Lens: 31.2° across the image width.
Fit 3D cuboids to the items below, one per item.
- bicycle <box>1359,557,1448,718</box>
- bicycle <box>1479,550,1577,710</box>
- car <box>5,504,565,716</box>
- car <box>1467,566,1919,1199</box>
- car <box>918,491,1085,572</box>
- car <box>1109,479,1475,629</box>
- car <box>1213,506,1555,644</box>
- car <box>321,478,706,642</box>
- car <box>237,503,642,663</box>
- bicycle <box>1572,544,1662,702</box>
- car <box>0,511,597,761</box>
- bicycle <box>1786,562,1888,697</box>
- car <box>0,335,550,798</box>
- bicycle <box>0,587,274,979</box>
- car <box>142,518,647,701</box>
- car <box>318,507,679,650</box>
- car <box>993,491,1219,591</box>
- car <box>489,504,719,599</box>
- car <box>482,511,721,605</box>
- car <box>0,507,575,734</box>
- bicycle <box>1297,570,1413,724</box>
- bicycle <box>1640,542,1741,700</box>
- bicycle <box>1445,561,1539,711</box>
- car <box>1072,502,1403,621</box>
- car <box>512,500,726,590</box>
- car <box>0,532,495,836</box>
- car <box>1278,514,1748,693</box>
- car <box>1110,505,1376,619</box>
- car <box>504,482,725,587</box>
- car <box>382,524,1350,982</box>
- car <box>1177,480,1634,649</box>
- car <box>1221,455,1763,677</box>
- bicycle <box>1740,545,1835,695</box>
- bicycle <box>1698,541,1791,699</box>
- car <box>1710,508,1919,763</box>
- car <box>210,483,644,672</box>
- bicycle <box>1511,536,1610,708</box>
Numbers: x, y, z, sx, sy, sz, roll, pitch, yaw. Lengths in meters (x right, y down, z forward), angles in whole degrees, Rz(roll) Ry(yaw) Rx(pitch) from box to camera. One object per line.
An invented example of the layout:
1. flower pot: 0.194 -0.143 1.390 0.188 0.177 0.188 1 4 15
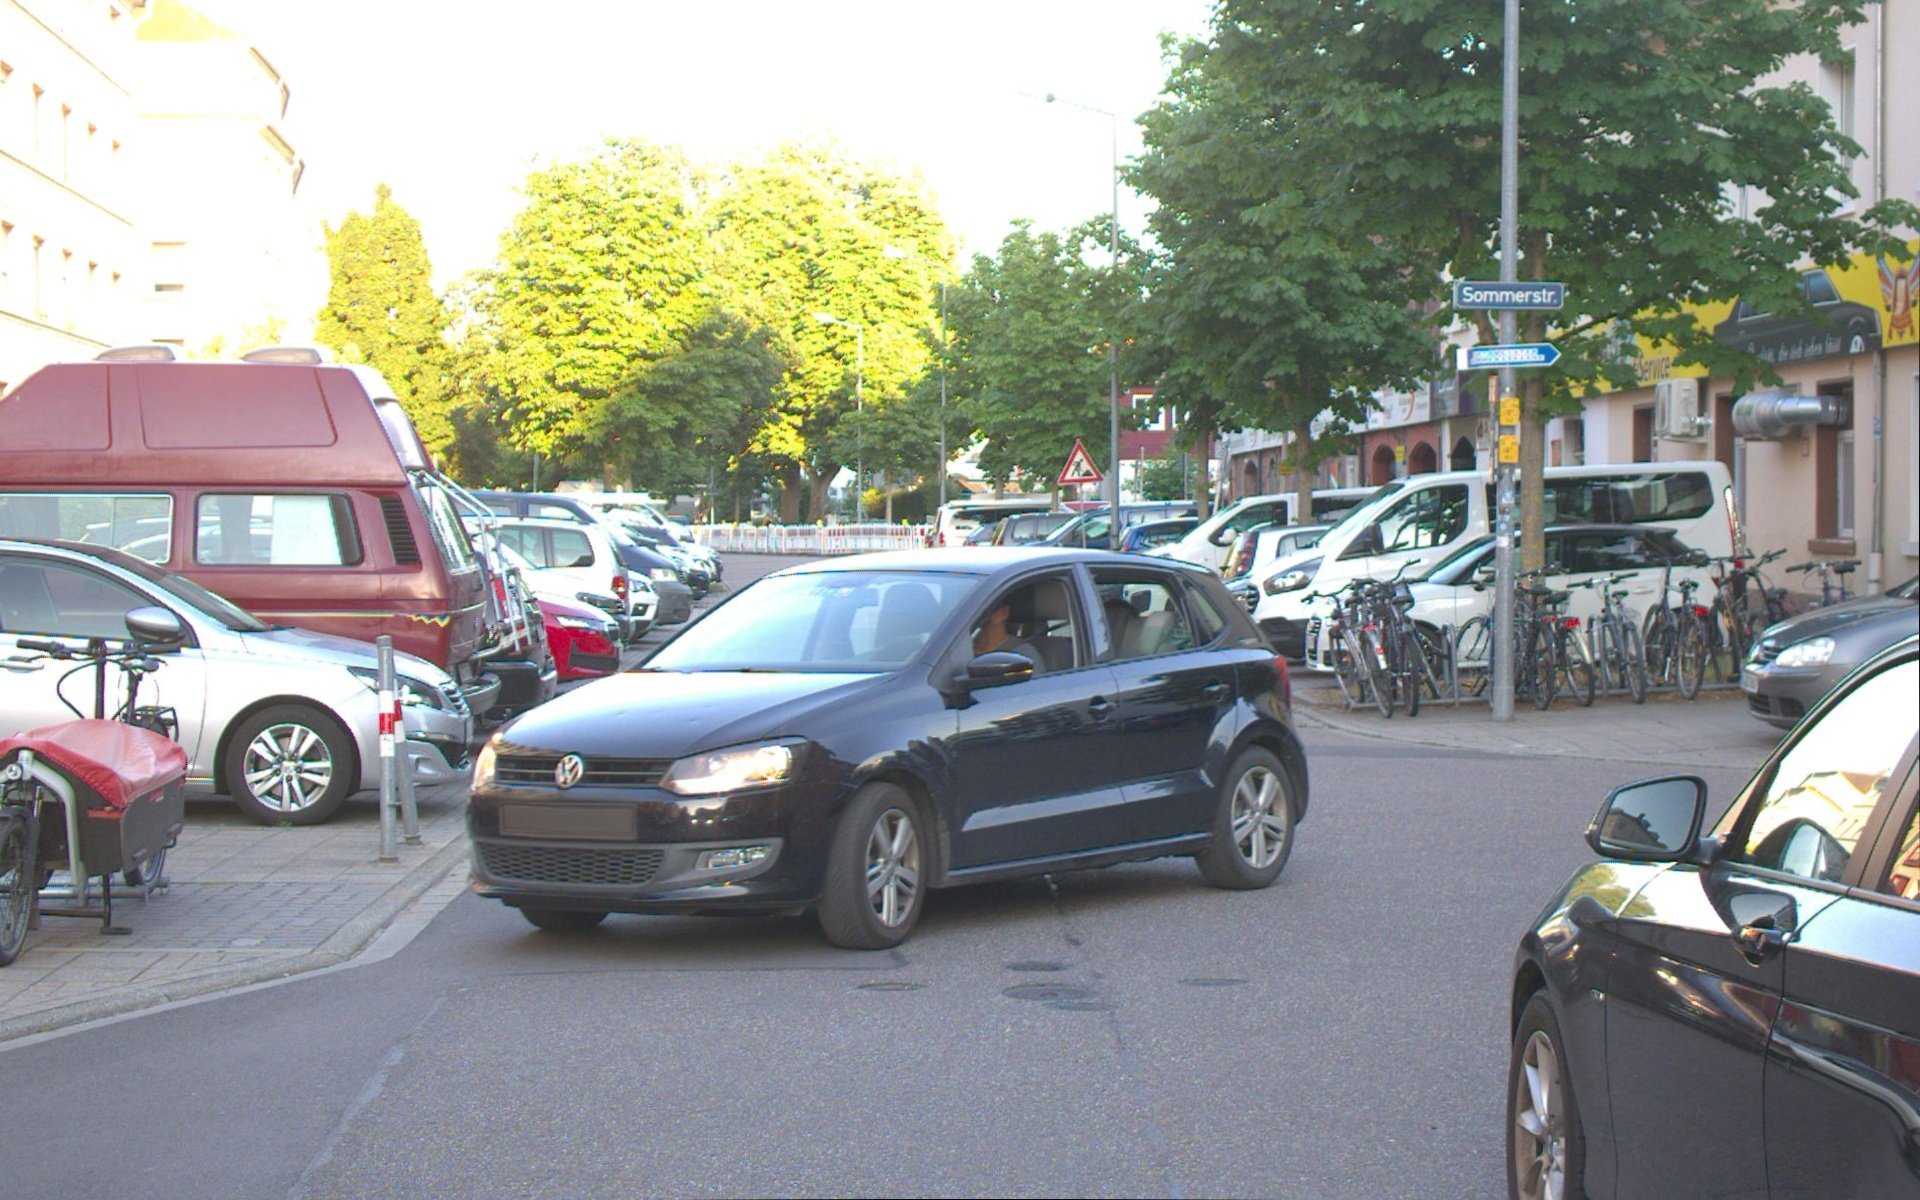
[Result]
1. bicycle: 3.517 0.273 27.368 0.386 1.196 2.017 -1 1 -1
2. bicycle: 4.512 0.217 27.398 0.386 1.196 2.017 -1 1 -1
3. car: -5.416 0.056 28.040 4.208 1.570 2.000 1 1 -3
4. car: 1.995 0.712 5.086 1.721 1.419 4.254 1 1 -2
5. car: 1.034 -1.740 87.442 3.967 1.905 2.050 -2 1 -6
6. car: 4.740 -0.674 49.547 4.943 1.951 2.049 -2 1 -3
7. car: 5.166 -0.322 42.304 3.911 1.521 1.939 -2 1 0
8. car: -5.866 -0.547 45.614 4.850 2.014 1.907 1 1 -1
9. car: -5.799 -0.208 38.708 4.256 1.654 2.000 1 1 -1
10. bicycle: 5.197 0.165 27.258 0.386 1.196 1.481 -1 1 -1
11. car: -4.632 0.214 23.226 4.208 1.532 1.791 1 1 -3
12. bicycle: 6.970 0.218 27.367 0.387 1.013 1.481 -1 1 -1
13. car: -4.867 -0.237 20.642 4.511 2.575 2.000 1 1 0
14. bicycle: -3.258 0.602 12.804 0.807 1.217 2.865 1 1 0
15. car: -5.001 0.059 30.829 4.209 1.484 1.850 1 1 -1
16. car: -5.728 -0.284 43.065 4.256 1.646 1.888 1 1 -1
17. car: 3.041 -1.244 71.966 4.478 1.905 1.688 -2 1 -6
18. car: -6.875 -0.944 66.696 4.256 1.709 2.000 1 1 -1
19. car: -6.636 -0.790 63.960 4.256 1.616 2.000 1 1 -2
20. car: -5.159 0.117 25.784 4.210 1.532 1.842 2 1 5
21. bicycle: 3.105 0.348 27.177 0.438 1.126 2.018 -1 2 -7
22. bicycle: 5.776 0.150 27.233 0.445 1.196 1.481 -1 1 -1
23. bicycle: 4.227 0.264 27.409 0.386 1.110 2.017 -1 1 -1
24. car: 4.354 -0.625 54.421 4.943 1.683 2.077 -2 1 -3
25. car: -7.051 -1.149 71.463 4.256 1.743 2.000 1 1 -1
26. car: -4.839 0.388 18.078 4.615 1.455 1.881 1 1 -4
27. car: 5.025 0.005 31.540 3.918 1.446 1.769 -2 2 -3
28. car: 4.856 -0.668 59.335 4.316 1.798 1.811 -2 1 -3
29. car: -7.411 -1.414 74.090 4.533 2.127 2.000 1 1 -1
30. car: -0.213 0.459 13.369 1.655 1.450 3.933 1 2 37
31. car: 5.075 -0.422 39.666 4.944 1.736 2.049 -2 1 0
32. car: 5.224 -0.357 34.322 4.989 1.976 2.220 -2 1 -1
33. bicycle: 6.565 0.140 27.315 0.353 1.139 1.481 -1 1 -1
34. bicycle: 6.206 0.145 27.229 0.353 1.196 1.481 -1 1 -1
35. car: 7.093 0.168 22.316 4.050 1.509 1.756 -1 3 0
36. car: -5.550 -0.254 36.237 4.256 1.830 2.000 1 1 -1
37. bicycle: 4.773 0.151 27.409 0.386 1.300 2.017 -1 1 -1
